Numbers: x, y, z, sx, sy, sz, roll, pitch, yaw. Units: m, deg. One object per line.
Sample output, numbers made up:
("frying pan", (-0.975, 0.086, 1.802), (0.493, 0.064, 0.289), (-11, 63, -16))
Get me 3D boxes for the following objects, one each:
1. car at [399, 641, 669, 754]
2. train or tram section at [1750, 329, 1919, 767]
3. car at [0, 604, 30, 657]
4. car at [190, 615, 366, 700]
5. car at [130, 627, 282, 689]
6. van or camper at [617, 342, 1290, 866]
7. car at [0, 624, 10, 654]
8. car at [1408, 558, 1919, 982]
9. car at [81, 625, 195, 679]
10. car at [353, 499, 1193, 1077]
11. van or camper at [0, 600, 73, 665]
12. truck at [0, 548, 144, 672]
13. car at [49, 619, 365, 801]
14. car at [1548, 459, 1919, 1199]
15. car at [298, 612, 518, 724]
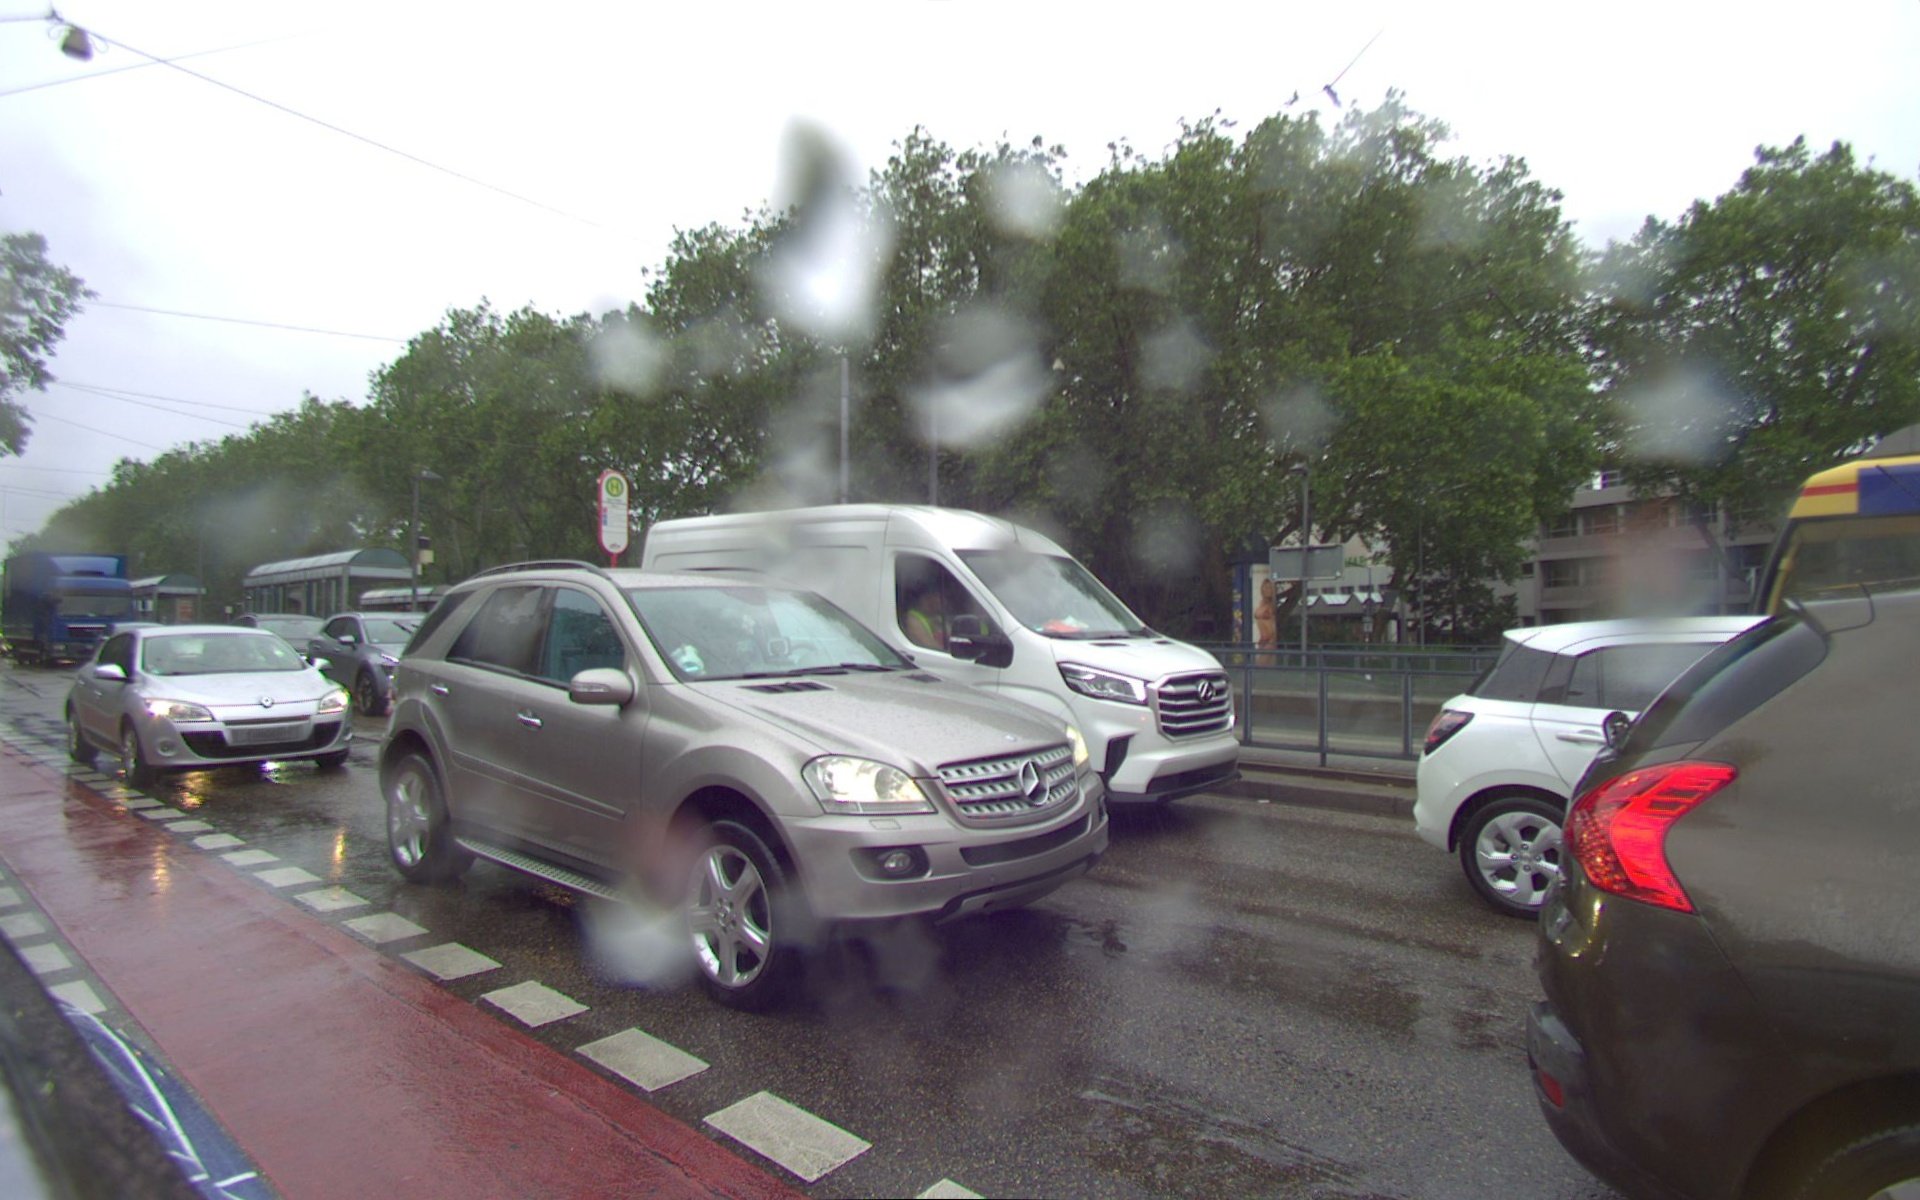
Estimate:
("car", (-5.451, 1.117, 12.705), (4.084, 1.126, 1.448), (-1, -1, 40))
("train or tram section", (13.219, -0.535, 5.687), (13.653, 3.539, 3.476), (-1, 0, 41))
("car", (-46.714, 1.492, 49.036), (5.727, 2.445, 1.972), (-1, 0, 43))
("car", (-14.650, 1.169, 21.673), (4.316, 1.633, 1.974), (-1, -2, 40))
("car", (-18.832, 1.387, 25.198), (4.602, 1.405, 1.973), (-1, -3, 40))
("van or camper", (-0.396, 0.086, 8.806), (5.846, 3.166, 2.136), (-1, -2, 40))
("car", (-52.356, 2.098, 54.061), (3.998, 1.589, 1.973), (-1, -1, 41))
("car", (4.264, 0.671, 4.525), (3.834, 1.641, 1.628), (-1, -2, 41))
("car", (-24.553, 1.507, 30.176), (4.074, 1.498, 1.871), (-1, -2, 40))
("car", (-1.271, 0.612, 5.346), (4.459, 1.783, 2.004), (-1, -1, 40))
("van or camper", (-40.048, 1.369, 43.542), (6.427, 2.590, 1.973), (-1, 0, 41))
("truck", (-32.134, 0.451, 36.229), (9.803, 3.919, 2.513), (-1, -3, 40))
("car", (-7.821, 0.957, 10.381), (3.998, 1.489, 1.750), (-1, -1, 40))
("car", (3.284, 0.596, 1.231), (4.170, 1.681, 1.815), (-1, -1, 41))
("car", (-9.375, 1.061, 17.036), (4.454, 1.636, 1.894), (-1, -2, 43))
